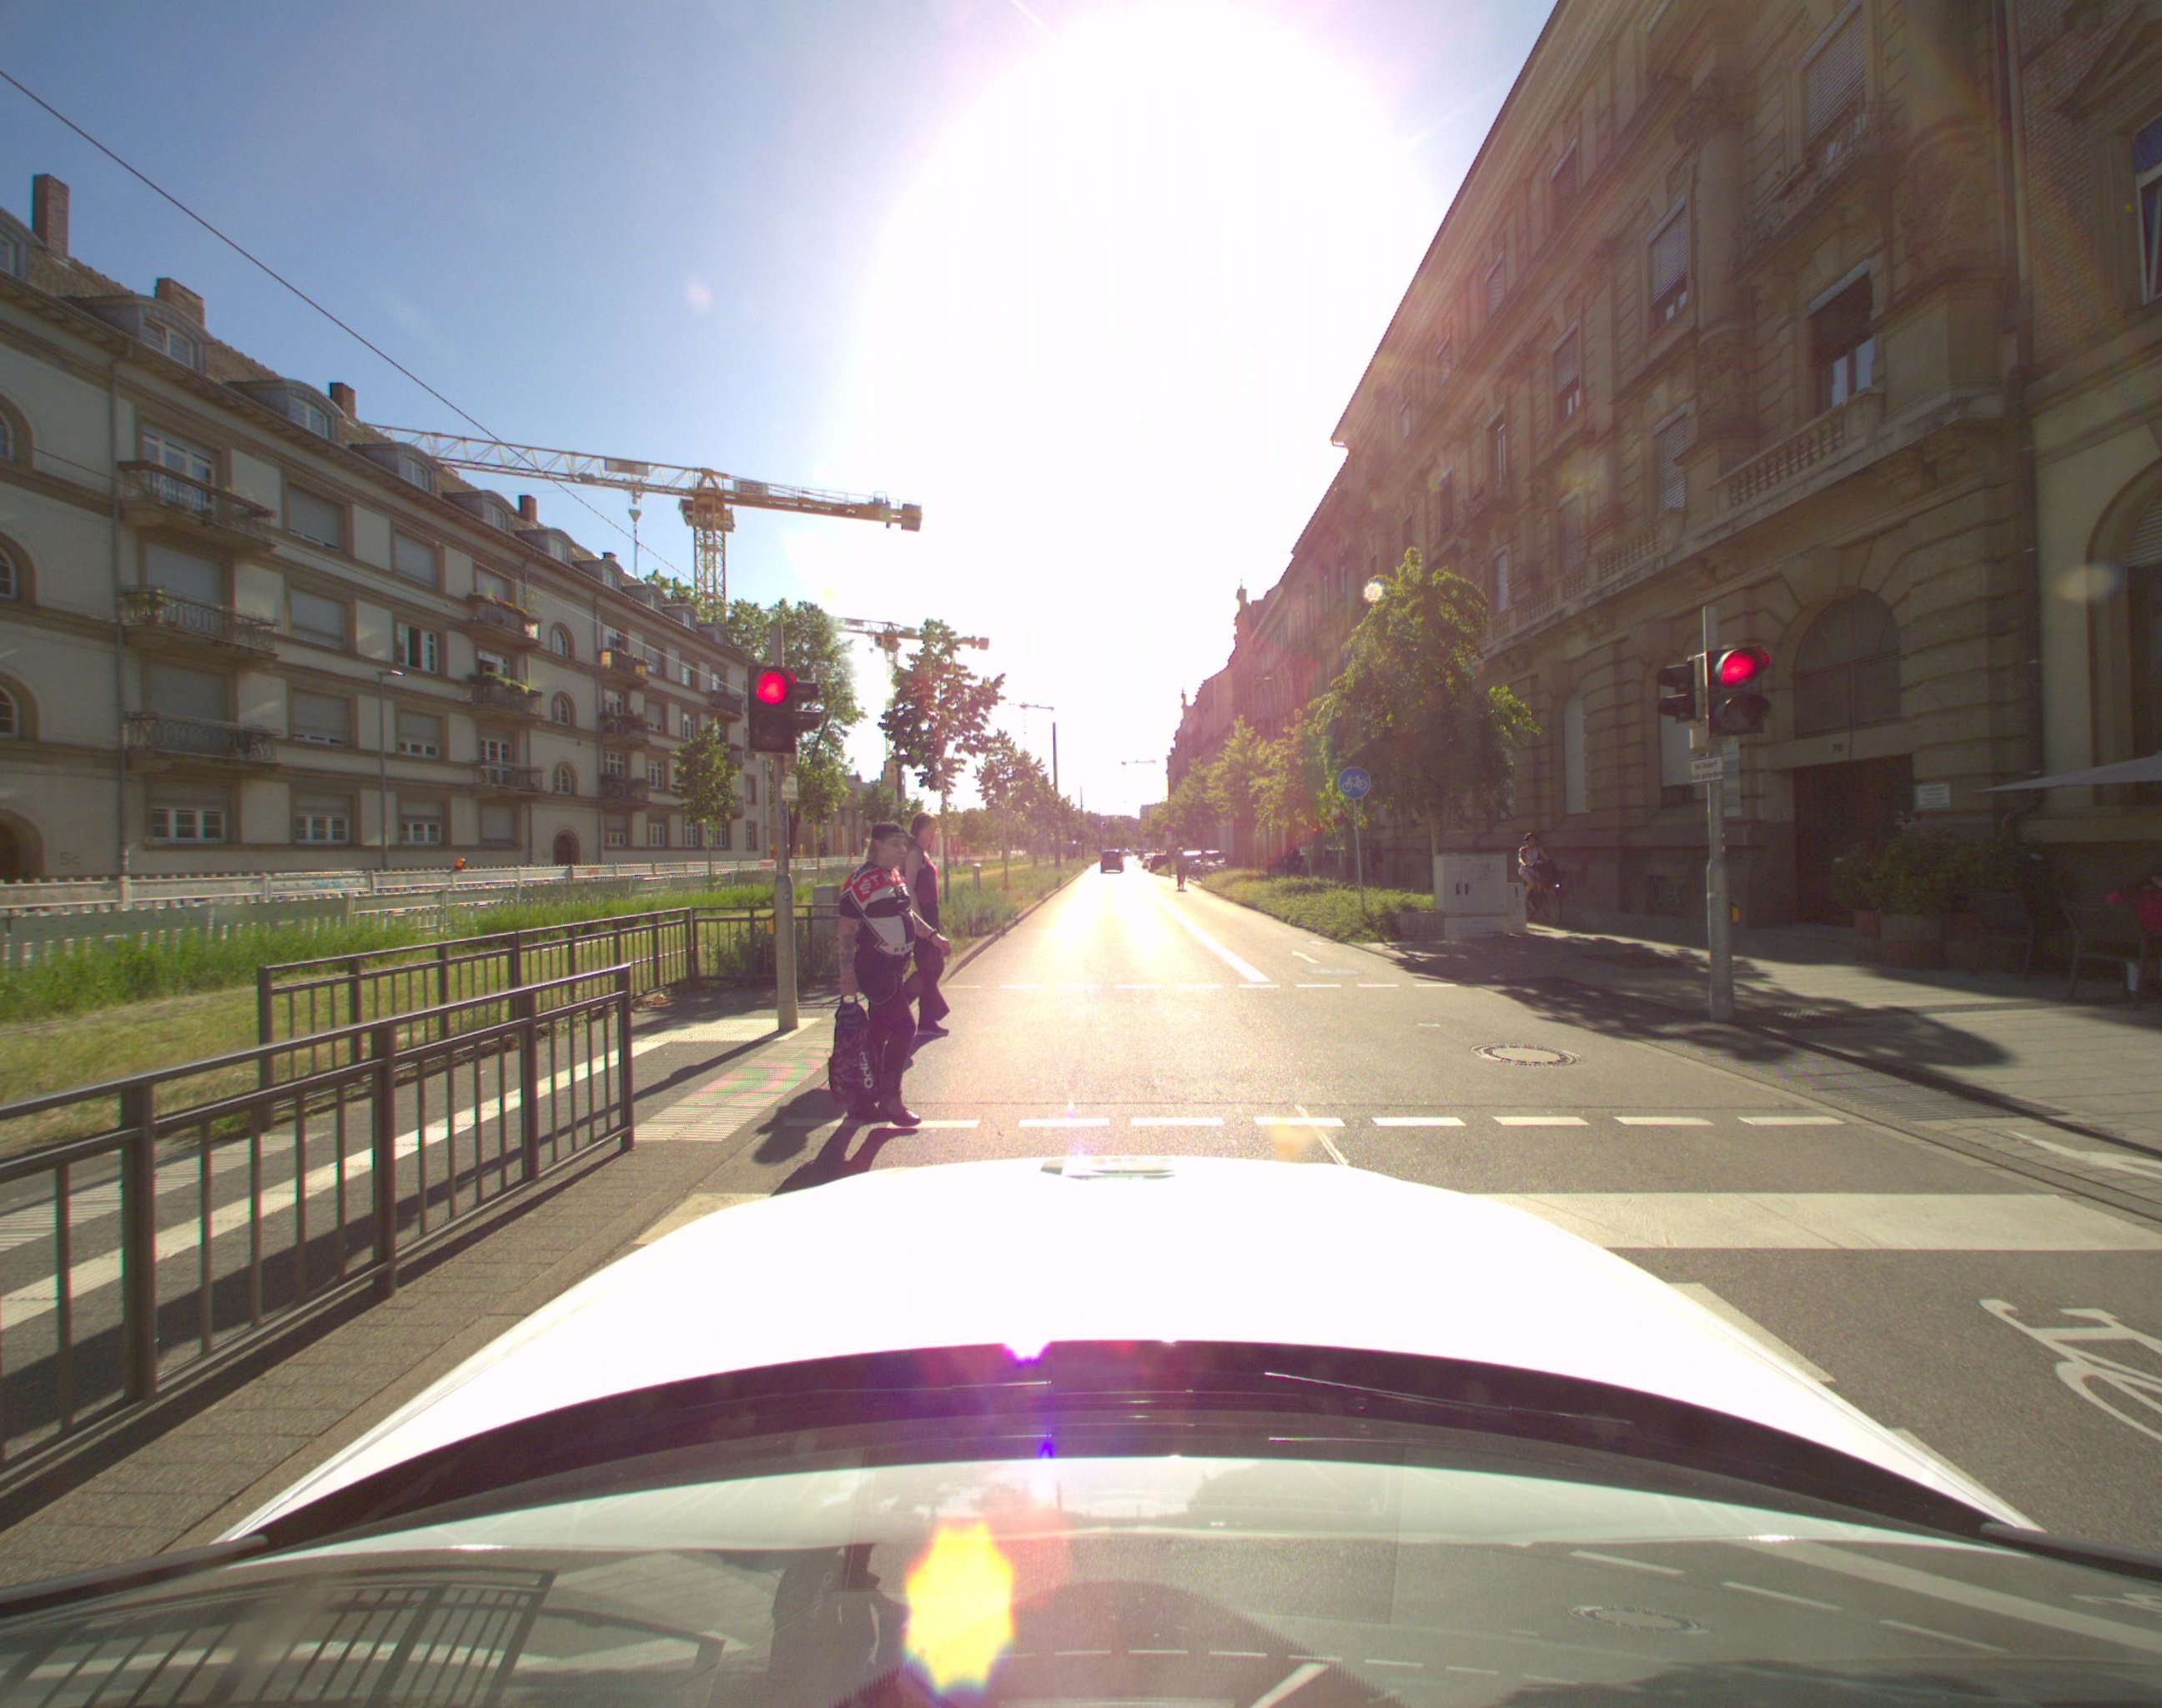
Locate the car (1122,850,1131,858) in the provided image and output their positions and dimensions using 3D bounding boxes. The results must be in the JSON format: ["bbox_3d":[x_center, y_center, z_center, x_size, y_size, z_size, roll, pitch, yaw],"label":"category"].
[{"bbox_3d":[10.926,-0.012,194.641,1.986,1.729,4.001,0,-1,2],"label":"car"}]

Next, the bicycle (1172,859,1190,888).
[{"bbox_3d":[4.379,0.838,35.634,0.599,1.181,1.870,0,0,1],"label":"bicycle"}]

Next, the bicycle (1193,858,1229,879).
[{"bbox_3d":[6.752,0.775,42.458,1.786,1.030,0.528,-2,0,1],"label":"bicycle"}]

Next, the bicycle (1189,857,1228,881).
[{"bbox_3d":[6.408,0.749,40.956,1.786,1.030,0.528,-6,0,1],"label":"bicycle"}]

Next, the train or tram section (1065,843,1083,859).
[{"bbox_3d":[-1.187,-0.465,143.816,2.745,2.743,9.870,0,-1,3],"label":"train or tram section"}]

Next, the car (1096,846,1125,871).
[{"bbox_3d":[2.398,0.337,66.571,2.192,1.926,4.655,-2,0,2],"label":"car"}]

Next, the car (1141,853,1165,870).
[{"bbox_3d":[6.988,0.705,79.784,2.020,1.499,4.532,-2,0,2],"label":"car"}]

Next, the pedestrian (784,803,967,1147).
[{"bbox_3d":[-1.144,0.625,4.760,0.863,1.788,0.969,-1,0,-5],"label":"pedestrian"}]

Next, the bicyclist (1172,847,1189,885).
[{"bbox_3d":[4.368,0.524,35.806,0.681,1.673,0.922,0,0,1],"label":"bicyclist"}]

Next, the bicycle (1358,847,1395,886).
[{"bbox_3d":[10.705,0.430,29.528,0.613,1.330,1.901,-6,0,3],"label":"bicycle"}]

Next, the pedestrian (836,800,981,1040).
[{"bbox_3d":[-1.433,0.526,6.923,1.073,1.908,0.652,-2,0,-5],"label":"pedestrian"}]

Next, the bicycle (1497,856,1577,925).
[{"bbox_3d":[8.755,0.665,15.715,0.580,1.222,1.902,-2,0,4],"label":"bicycle"}]

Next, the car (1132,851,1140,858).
[{"bbox_3d":[15.276,0.049,225.660,1.986,1.838,4.001,0,-1,2],"label":"car"}]

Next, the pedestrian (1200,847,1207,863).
[{"bbox_3d":[12.431,0.075,82.507,0.611,1.611,0.669,-2,0,1],"label":"pedestrian"}]

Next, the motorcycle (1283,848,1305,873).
[{"bbox_3d":[11.505,0.335,44.036,0.697,1.267,1.983,-2,0,2],"label":"motorcycle"}]

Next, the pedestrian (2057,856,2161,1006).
[{"bbox_3d":[9.103,0.628,6.959,0.703,1.178,0.635,-3,0,1],"label":"pedestrian"}]

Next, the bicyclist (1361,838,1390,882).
[{"bbox_3d":[10.653,0.205,29.470,0.657,1.530,0.801,-6,0,3],"label":"bicyclist"}]

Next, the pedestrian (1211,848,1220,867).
[{"bbox_3d":[11.780,0.286,71.400,0.611,1.611,0.669,-2,0,1],"label":"pedestrian"}]

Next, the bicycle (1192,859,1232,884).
[{"bbox_3d":[6.378,0.836,39.581,1.786,1.030,0.528,-6,0,1],"label":"bicycle"}]

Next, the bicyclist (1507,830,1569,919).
[{"bbox_3d":[8.745,0.386,15.616,0.663,1.639,0.962,-2,0,4],"label":"bicyclist"}]

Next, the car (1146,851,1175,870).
[{"bbox_3d":[6.539,0.521,67.453,2.020,1.499,4.655,-2,0,2],"label":"car"}]

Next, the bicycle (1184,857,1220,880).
[{"bbox_3d":[6.513,0.775,43.888,1.786,1.030,0.528,-6,0,1],"label":"bicycle"}]

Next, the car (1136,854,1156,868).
[{"bbox_3d":[7.331,0.794,92.312,2.020,1.499,4.532,-2,0,2],"label":"car"}]
